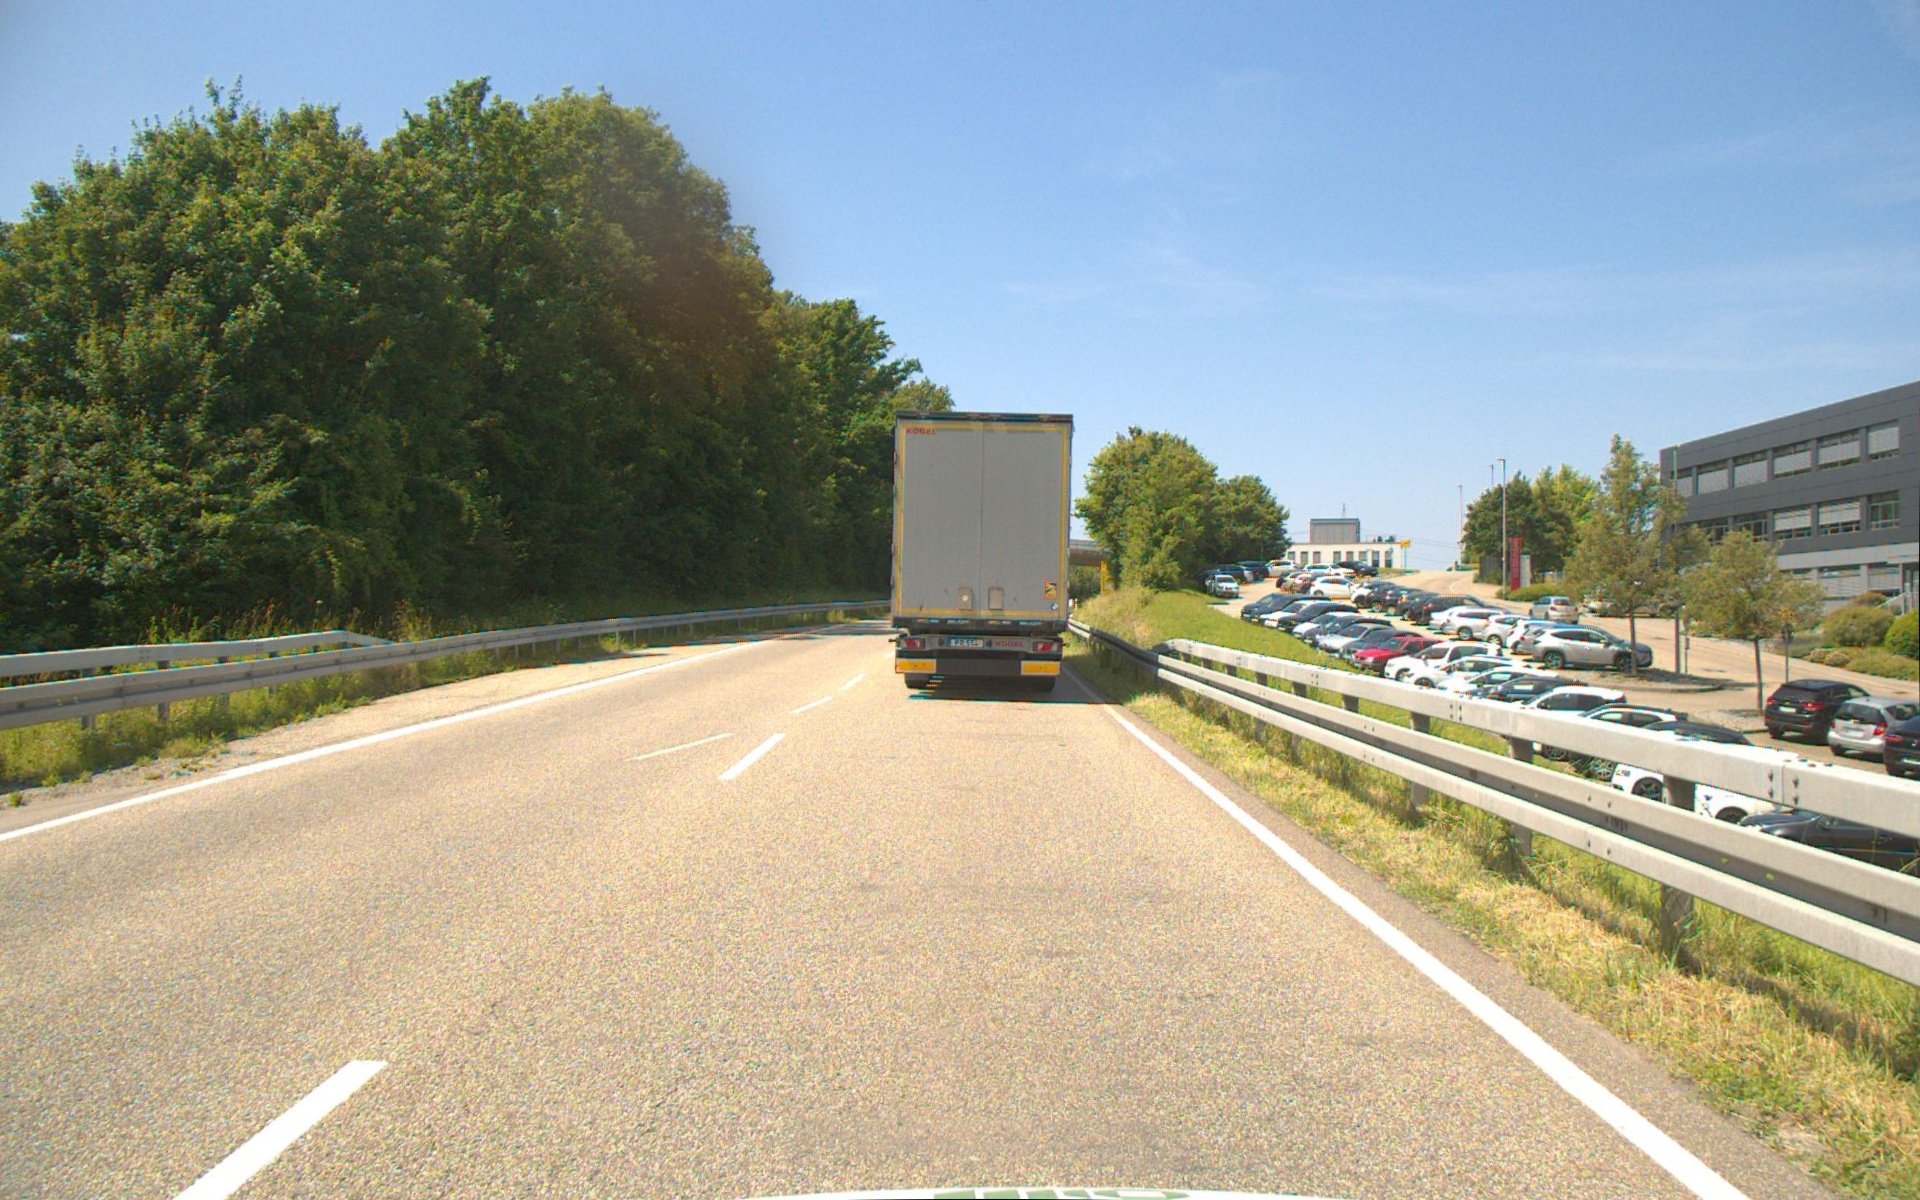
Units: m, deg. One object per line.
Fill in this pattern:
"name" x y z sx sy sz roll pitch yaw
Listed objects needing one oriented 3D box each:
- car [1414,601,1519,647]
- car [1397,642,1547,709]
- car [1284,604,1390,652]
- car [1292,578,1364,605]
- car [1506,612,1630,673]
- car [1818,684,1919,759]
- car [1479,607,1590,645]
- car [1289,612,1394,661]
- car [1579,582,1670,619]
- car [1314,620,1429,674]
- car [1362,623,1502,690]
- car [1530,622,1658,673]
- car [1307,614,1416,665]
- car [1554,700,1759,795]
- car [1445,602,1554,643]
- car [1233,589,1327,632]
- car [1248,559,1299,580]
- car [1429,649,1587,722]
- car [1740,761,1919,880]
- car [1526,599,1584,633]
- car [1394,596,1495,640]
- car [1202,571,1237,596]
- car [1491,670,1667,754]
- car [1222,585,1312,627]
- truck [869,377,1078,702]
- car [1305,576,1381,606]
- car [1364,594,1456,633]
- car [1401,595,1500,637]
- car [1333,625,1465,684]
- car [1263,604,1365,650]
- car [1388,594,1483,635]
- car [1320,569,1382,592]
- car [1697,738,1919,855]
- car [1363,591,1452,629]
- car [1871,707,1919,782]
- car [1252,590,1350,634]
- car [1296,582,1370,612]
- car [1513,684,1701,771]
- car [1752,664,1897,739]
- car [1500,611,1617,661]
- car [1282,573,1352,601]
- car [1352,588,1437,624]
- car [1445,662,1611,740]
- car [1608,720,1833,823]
"car" 24.537 1.132 80.177 4.488 1.656 1.818 7 3 28
"car" 16.807 2.440 54.310 4.285 1.585 1.884 7 3 30
"car" 16.736 1.245 73.428 4.312 1.714 1.873 4 3 -28
"car" 25.174 -0.607 113.125 4.479 1.657 1.820 2 1 22
"car" 24.891 1.703 67.765 4.486 1.654 1.820 7 11 27
"car" 25.745 3.287 45.355 4.527 1.565 1.802 0 5 -32
"car" 25.504 1.141 73.434 4.482 1.503 1.819 -1 4 27
"car" 16.279 1.558 70.478 4.328 1.714 1.866 4 3 -36
"car" 37.985 0.013 94.596 4.477 1.983 1.821 1 2 2
"car" 15.889 1.830 63.850 4.328 1.714 1.866 4 3 -36
"car" 16.463 1.945 57.674 4.359 1.714 1.887 7 3 23
"car" 24.762 1.824 64.618 4.483 1.656 1.819 2 4 27
"car" 16.375 1.615 67.412 4.328 1.714 1.866 4 3 -36
"car" 16.680 3.480 39.632 4.283 1.480 1.816 7 3 28
"car" 24.993 1.040 76.711 4.490 1.546 1.817 3 5 32
"car" 16.123 0.545 83.293 4.312 1.714 1.873 4 3 -28
"car" 28.335 -2.753 149.451 4.311 1.714 1.873 0 5 -27
"car" 16.840 2.579 50.835 4.280 1.585 1.887 7 3 25
"car" 16.707 4.106 30.245 4.279 1.515 1.710 7 3 25
"car" 31.891 0.843 88.753 1.769 1.691 4.001 3 1 2
"car" 24.262 0.894 82.841 4.488 1.656 1.818 7 3 28
"car" 17.487 -1.137 111.607 1.592 1.376 3.710 5 3 -2
"car" 16.953 3.020 45.316 4.280 1.585 1.861 7 3 25
"car" 16.032 0.313 86.340 4.312 1.714 1.873 4 3 -28
"truck" 0.140 -0.885 27.809 2.807 4.435 9.788 1 1 -1
"car" 24.803 -0.602 107.135 4.480 1.657 1.820 4 2 22
"car" 24.948 0.714 91.748 4.488 1.656 1.818 7 3 28
"car" 25.323 0.805 85.429 4.488 1.656 1.818 7 3 28
"car" 16.197 2.017 61.058 4.300 1.714 1.878 5 3 -21
"car" 16.356 1.241 76.453 4.312 1.714 1.873 4 3 -28
"car" 25.437 0.766 88.465 4.488 1.656 1.818 7 3 28
"car" 31.808 -1.572 134.521 4.496 1.657 1.814 3 1 36
"car" 17.074 3.902 33.188 4.034 1.543 1.678 7 3 25
"car" 25.450 0.538 94.072 4.488 1.656 1.818 7 3 28
"car" 25.018 3.599 41.615 4.533 1.539 1.800 -1 5 -35
"car" 16.474 0.577 79.955 4.312 1.714 1.873 4 3 -28
"car" 24.774 -0.196 109.928 4.480 1.656 1.820 4 2 22
"car" 16.622 3.231 42.511 4.280 1.480 1.817 7 3 25
"car" 25.177 2.925 48.147 4.187 1.656 1.802 -2 6 -32
"car" 25.506 1.515 70.500 4.484 1.656 1.820 3 7 27
"car" 25.081 -0.924 116.288 4.480 1.656 1.820 5 3 22
"car" 25.633 0.342 97.583 4.488 1.656 1.818 7 3 28
"car" 16.580 2.897 48.293 4.280 1.585 1.887 7 3 25
"car" 16.696 3.716 36.362 4.283 1.418 1.816 7 3 28
